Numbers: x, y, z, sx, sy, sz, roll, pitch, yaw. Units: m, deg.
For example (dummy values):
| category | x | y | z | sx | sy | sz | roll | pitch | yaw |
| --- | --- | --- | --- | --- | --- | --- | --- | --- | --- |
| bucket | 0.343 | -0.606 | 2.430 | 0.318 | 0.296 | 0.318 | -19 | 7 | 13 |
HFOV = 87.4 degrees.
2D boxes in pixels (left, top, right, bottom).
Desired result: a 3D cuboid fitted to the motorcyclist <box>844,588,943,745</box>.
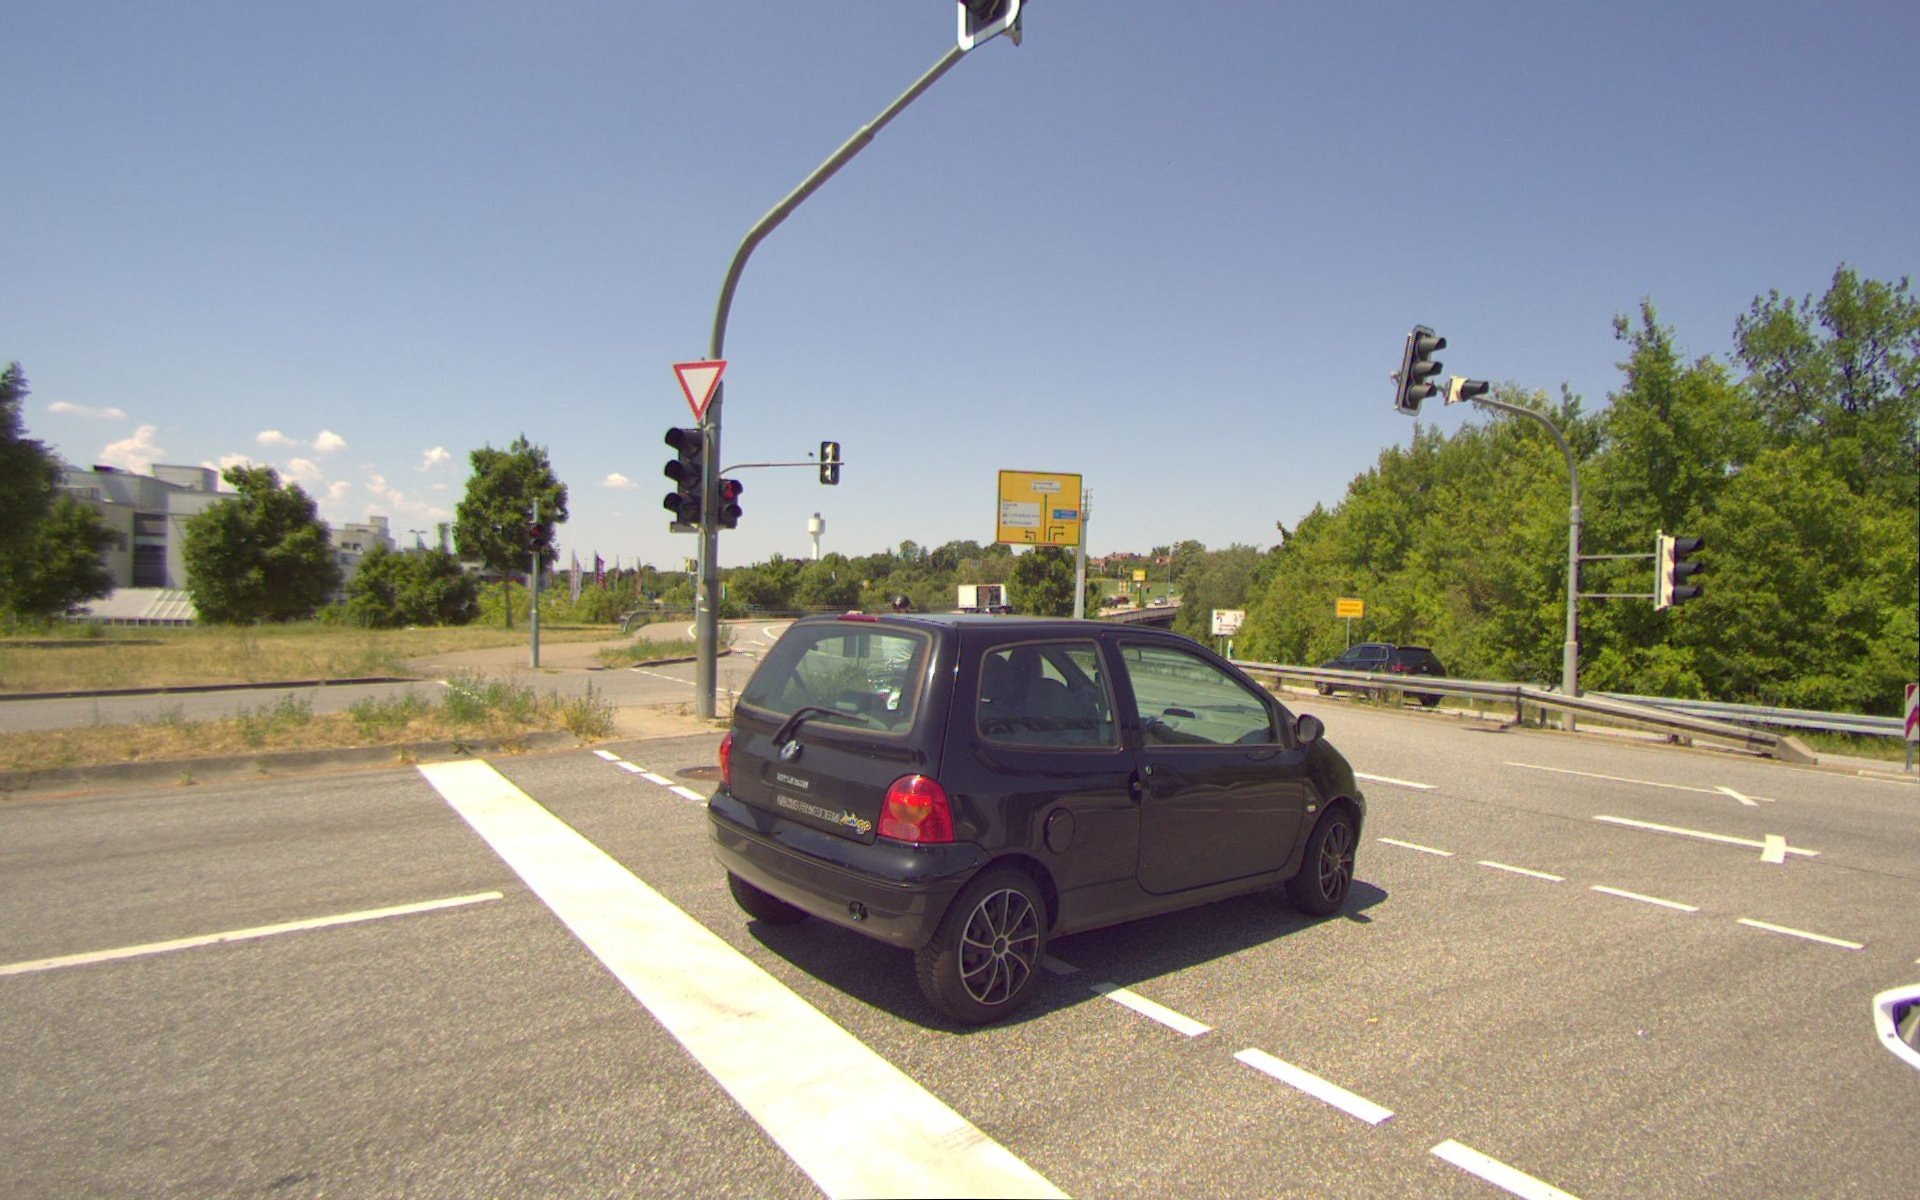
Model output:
| category | x | y | z | sx | sy | sz | roll | pitch | yaw |
| --- | --- | --- | --- | --- | --- | --- | --- | --- | --- |
| motorcyclist | -0.701 | 0.682 | 10.652 | 0.603 | 1.560 | 0.845 | 3 | 0 | 33 |

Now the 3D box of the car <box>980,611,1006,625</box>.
| category | x | y | z | sx | sy | sz | roll | pitch | yaw |
| --- | --- | --- | --- | --- | --- | --- | --- | --- | --- |
| car | 4.122 | 2.208 | 123.924 | 1.777 | 1.452 | 3.926 | 4 | -1 | 25 |

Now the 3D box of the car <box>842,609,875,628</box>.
| category | x | y | z | sx | sy | sz | roll | pitch | yaw |
| --- | --- | --- | --- | --- | --- | --- | --- | --- | --- |
| car | -8.816 | 1.659 | 87.922 | 1.614 | 1.413 | 3.994 | 5 | -1 | 12 |

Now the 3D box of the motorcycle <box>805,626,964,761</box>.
| category | x | y | z | sx | sy | sz | roll | pitch | yaw |
| --- | --- | --- | --- | --- | --- | --- | --- | --- | --- |
| motorcycle | -0.735 | 0.919 | 10.511 | 0.568 | 1.255 | 1.936 | 3 | 0 | 33 |

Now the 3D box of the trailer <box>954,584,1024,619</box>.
| category | x | y | z | sx | sy | sz | roll | pitch | yaw |
| --- | --- | --- | --- | --- | --- | --- | --- | --- | --- |
| trailer | 4.012 | 0.161 | 132.772 | 3.181 | 4.305 | 15.389 | 2 | 1 | 26 |

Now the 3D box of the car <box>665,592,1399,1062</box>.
| category | x | y | z | sx | sy | sz | roll | pitch | yaw |
| --- | --- | --- | --- | --- | --- | --- | --- | --- | --- |
| car | 0.512 | 0.762 | 4.776 | 3.275 | 1.426 | 1.605 | 3 | -1 | -41 |

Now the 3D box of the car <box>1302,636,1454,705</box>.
| category | x | y | z | sx | sy | sz | roll | pitch | yaw |
| --- | --- | --- | --- | --- | --- | --- | --- | --- | --- |
| car | 11.854 | 1.967 | 28.834 | 1.872 | 1.653 | 4.267 | 5 | -3 | -11 |
